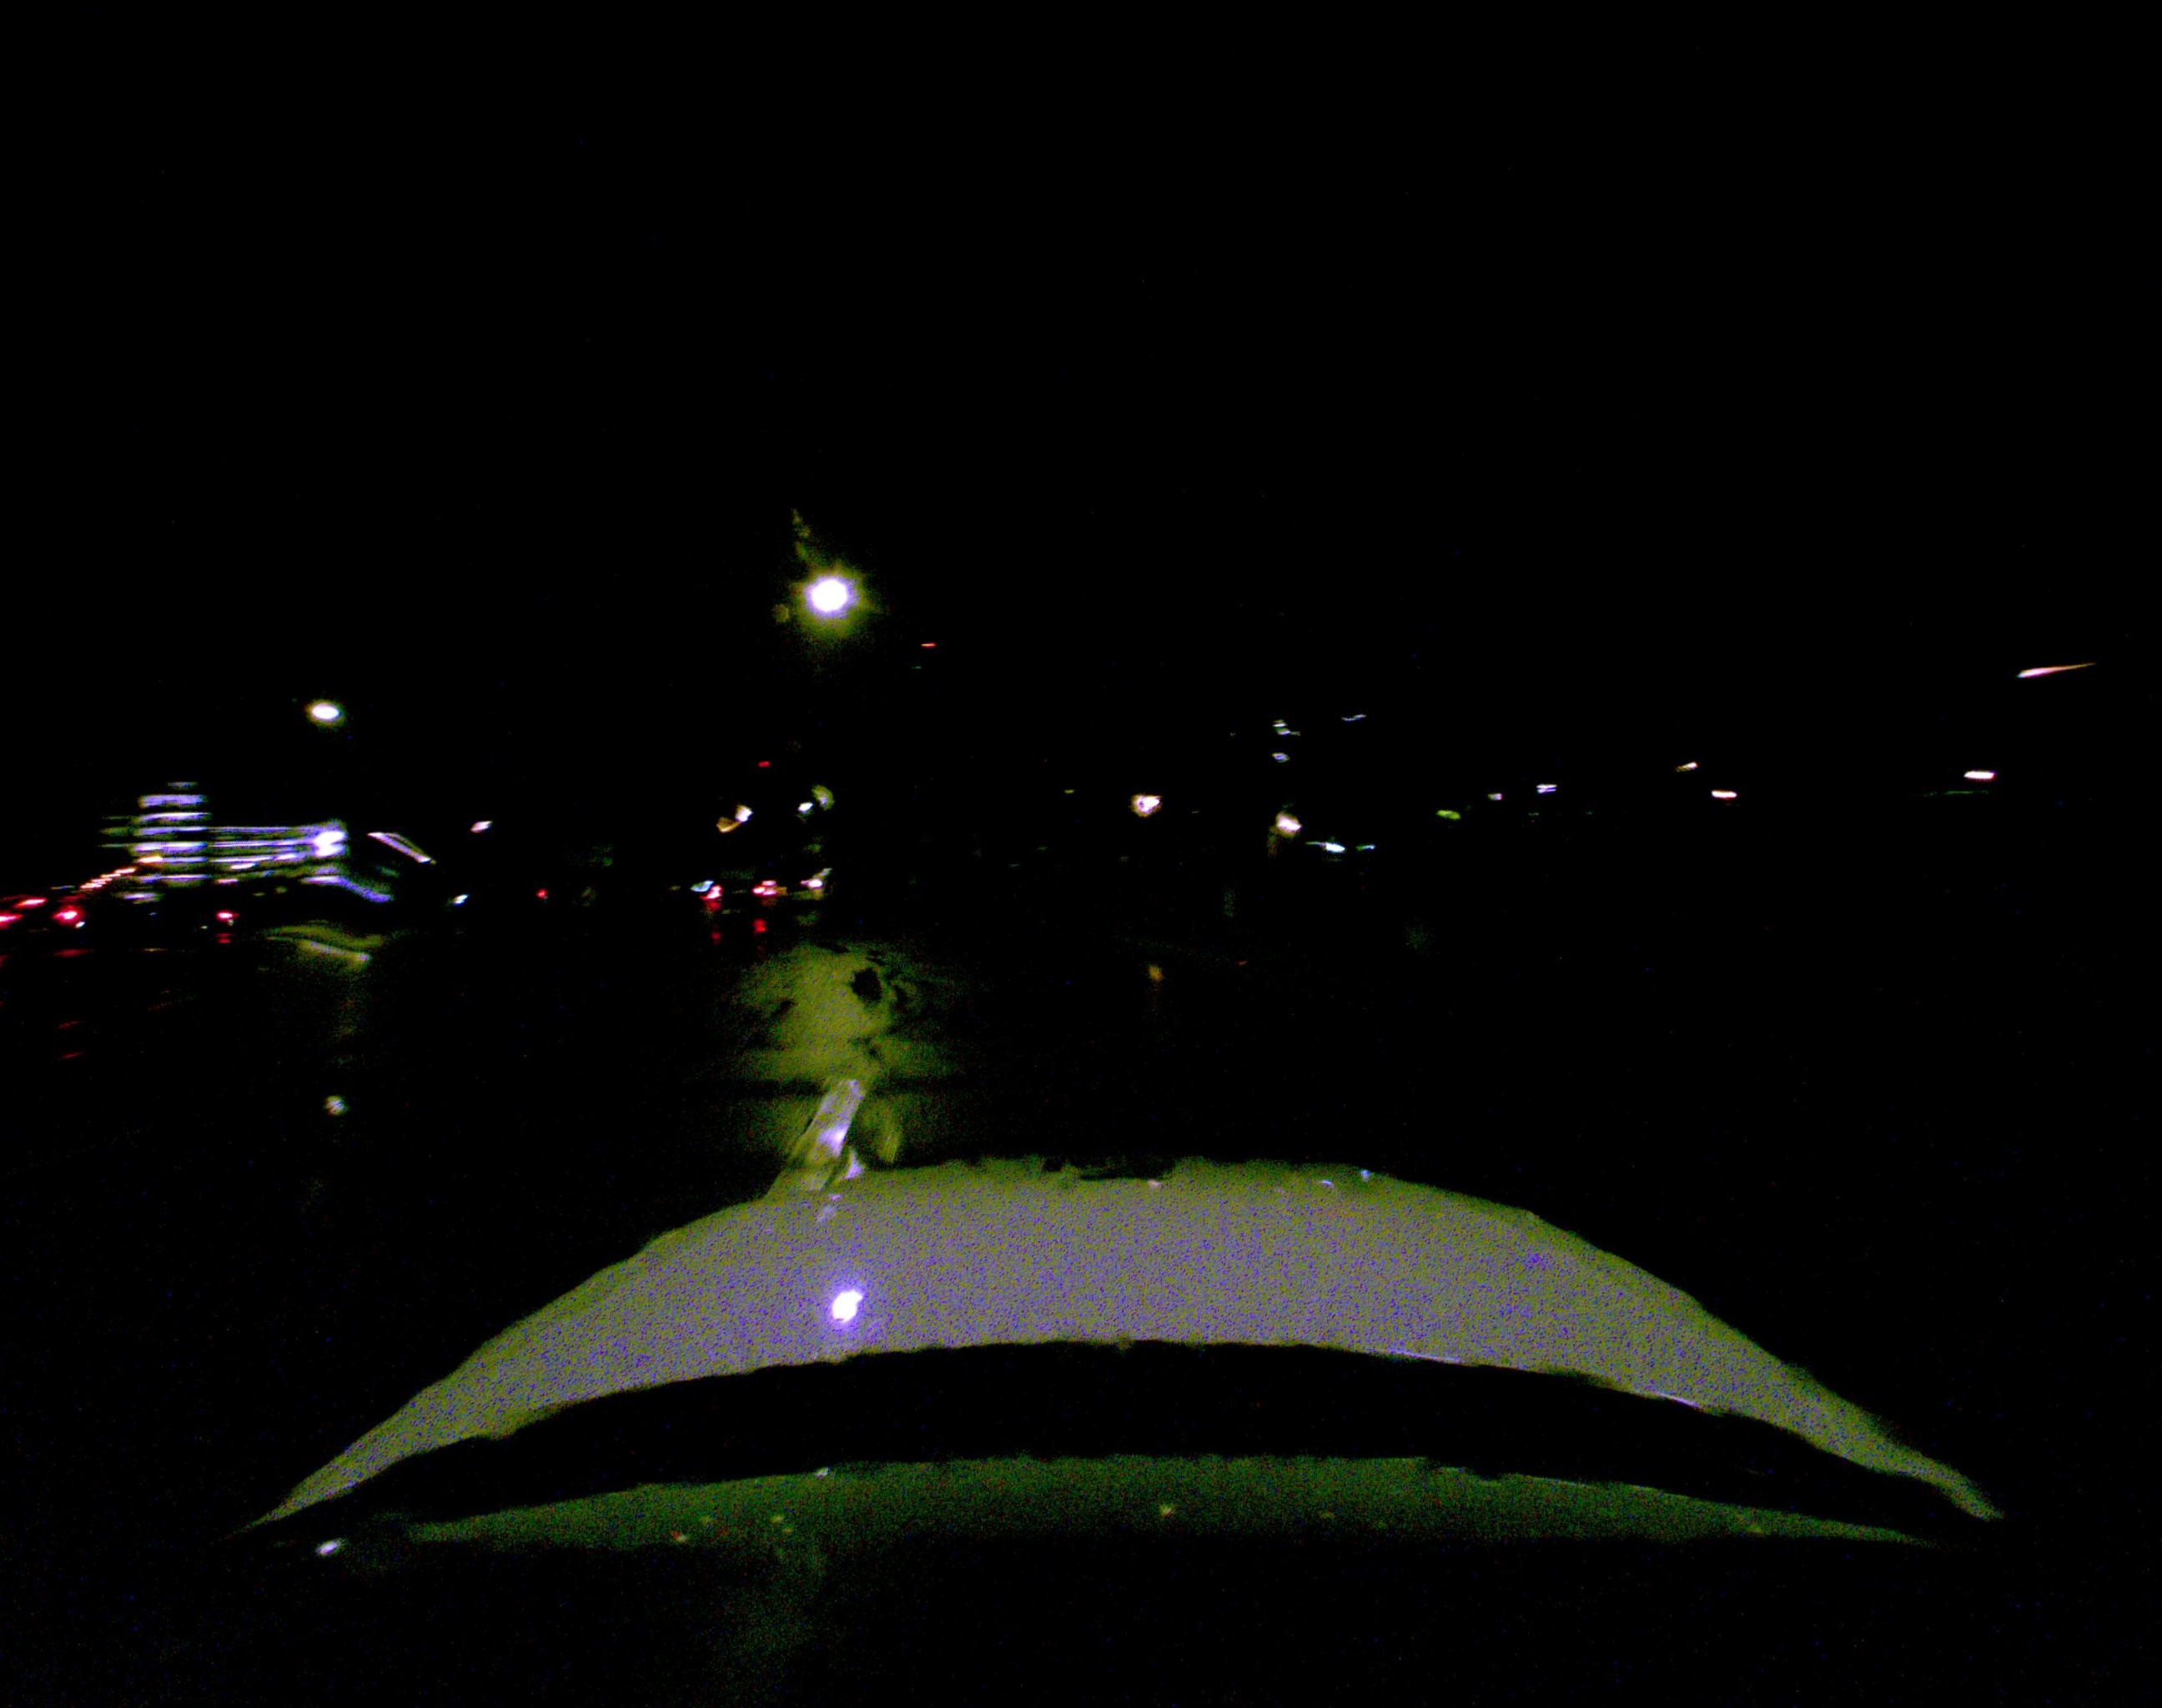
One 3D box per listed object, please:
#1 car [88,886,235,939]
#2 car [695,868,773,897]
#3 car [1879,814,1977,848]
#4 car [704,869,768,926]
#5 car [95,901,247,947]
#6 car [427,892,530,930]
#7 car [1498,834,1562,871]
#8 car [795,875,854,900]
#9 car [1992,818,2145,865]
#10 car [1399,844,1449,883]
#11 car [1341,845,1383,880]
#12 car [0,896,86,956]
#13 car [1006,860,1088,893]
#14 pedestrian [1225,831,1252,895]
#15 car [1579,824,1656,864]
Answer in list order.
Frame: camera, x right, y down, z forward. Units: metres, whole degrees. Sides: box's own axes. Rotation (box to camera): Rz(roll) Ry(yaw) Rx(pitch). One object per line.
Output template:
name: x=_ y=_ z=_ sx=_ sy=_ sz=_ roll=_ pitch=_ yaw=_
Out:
car: x=-29.784 y=1.884 z=26.418 sx=3.589 sy=1.579 sz=1.744 roll=-2 pitch=0 yaw=16
car: x=-23.903 y=1.944 z=56.318 sx=1.974 sy=1.736 sz=4.649 roll=-2 pitch=0 yaw=30
car: x=41.579 y=-1.073 z=40.102 sx=1.702 sy=1.536 sz=3.930 roll=-2 pitch=0 yaw=18
car: x=-13.672 y=1.651 z=32.486 sx=2.000 sy=2.013 sz=4.527 roll=-1 pitch=0 yaw=-20
car: x=-38.631 y=2.925 z=34.703 sx=4.015 sy=1.584 sz=1.579 roll=-1 pitch=0 yaw=-33
car: x=-31.333 y=2.920 z=42.436 sx=1.839 sy=1.640 sz=3.916 roll=-2 pitch=0 yaw=36
car: x=19.331 y=-0.066 z=35.216 sx=1.702 sy=1.497 sz=3.930 roll=-2 pitch=0 yaw=18
car: x=-20.211 y=2.588 z=64.426 sx=1.854 sy=1.758 sz=4.421 roll=-2 pitch=0 yaw=27
car: x=35.868 y=-0.436 z=29.743 sx=1.702 sy=1.536 sz=3.930 roll=-2 pitch=0 yaw=18
car: x=15.243 y=0.468 z=36.339 sx=1.702 sy=1.497 sz=3.929 roll=-3 pitch=-4 yaw=18
car: x=12.963 y=0.356 z=37.686 sx=1.702 sy=1.497 sz=3.930 roll=-2 pitch=0 yaw=18
car: x=-31.320 y=2.071 z=23.703 sx=3.919 sy=1.579 sz=1.746 roll=-2 pitch=0 yaw=20
car: x=-1.853 y=1.202 z=44.225 sx=3.950 sy=1.684 sz=1.930 roll=-2 pitch=0 yaw=27
pedestrian: x=4.800 y=0.259 z=24.840 sx=0.649 sy=1.902 sz=0.729 roll=-2 pitch=0 yaw=1
car: x=22.402 y=-0.397 z=34.135 sx=1.702 sy=1.536 sz=3.930 roll=-2 pitch=0 yaw=18
